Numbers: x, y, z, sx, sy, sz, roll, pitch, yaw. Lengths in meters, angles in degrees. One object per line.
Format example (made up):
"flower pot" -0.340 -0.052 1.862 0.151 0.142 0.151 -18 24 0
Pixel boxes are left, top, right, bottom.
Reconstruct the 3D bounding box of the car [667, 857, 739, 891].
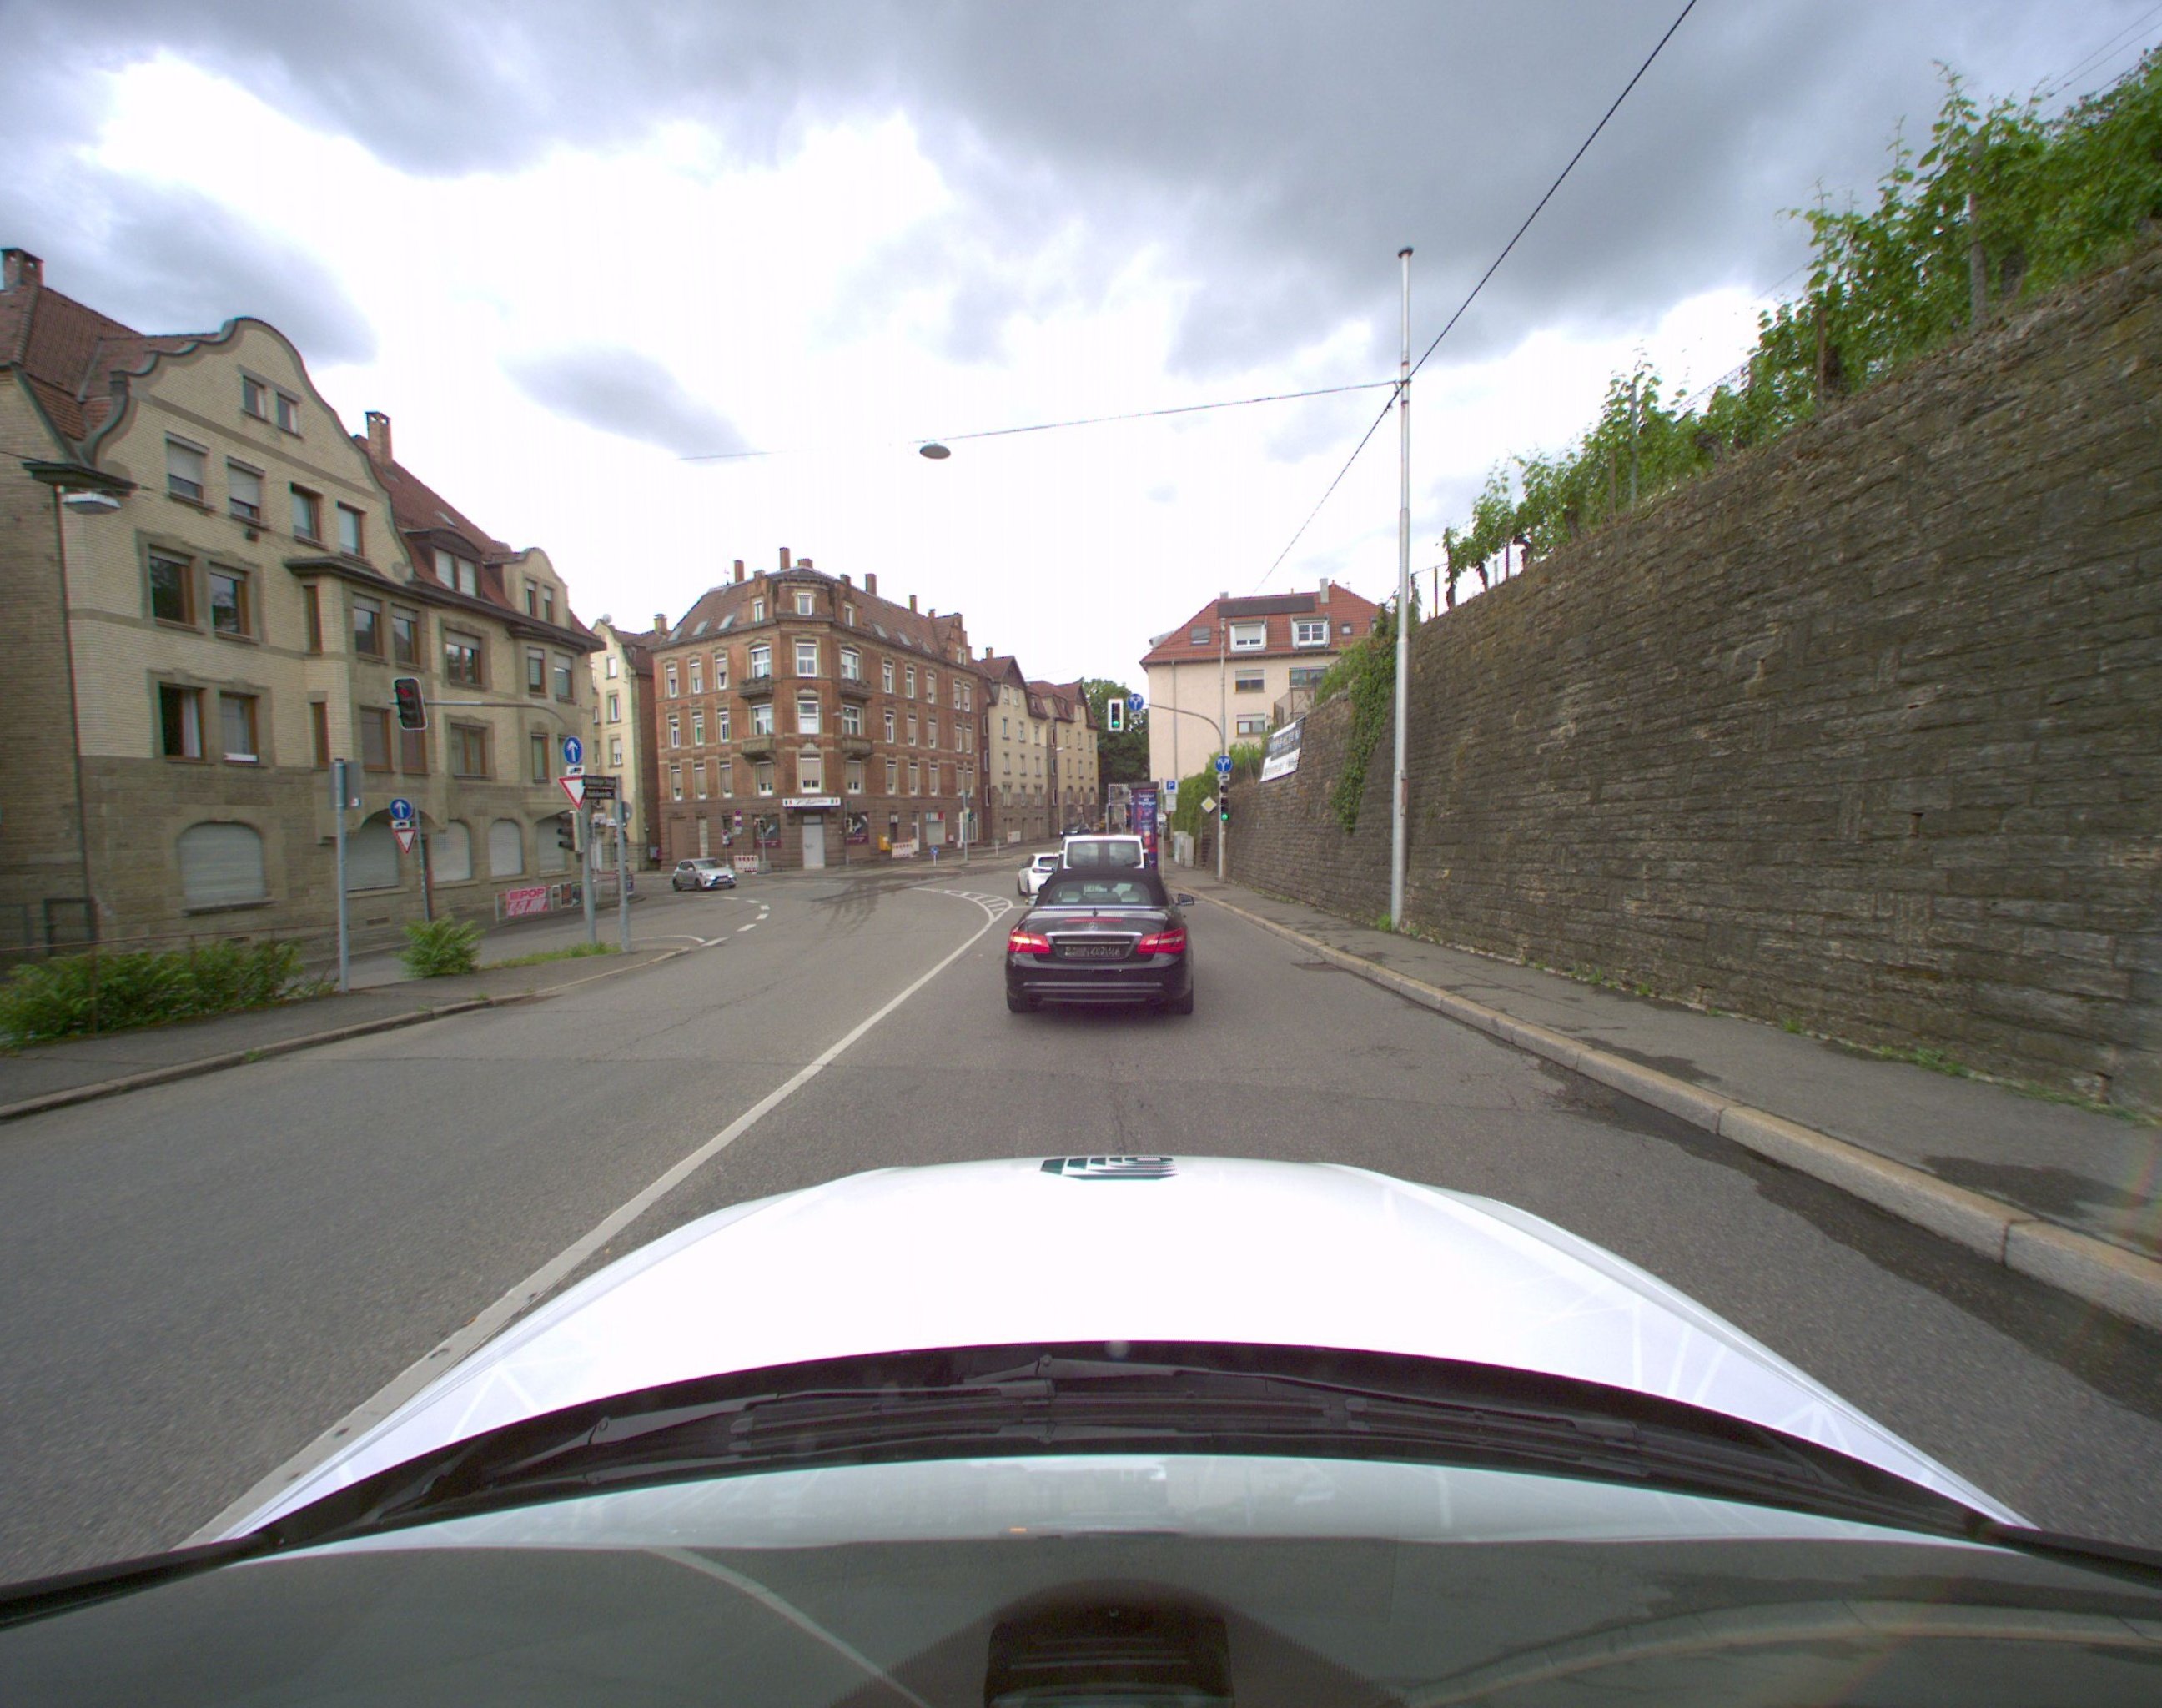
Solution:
"car" -17.690 0.942 38.045 3.596 1.467 1.686 -1 0 40

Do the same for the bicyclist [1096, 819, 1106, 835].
"bicyclist" 2.327 -3.145 95.088 0.938 1.702 0.787 -5 2 7

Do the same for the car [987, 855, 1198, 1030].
"car" 0.170 0.756 9.093 1.755 1.409 4.401 -1 0 2

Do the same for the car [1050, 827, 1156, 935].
"car" 0.480 0.476 17.193 1.884 1.929 4.647 -1 0 2

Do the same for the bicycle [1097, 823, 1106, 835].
"bicycle" 2.435 -2.911 95.187 0.628 1.306 2.605 -5 2 8

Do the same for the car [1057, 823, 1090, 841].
"car" -0.732 -2.172 80.977 1.978 1.514 4.306 -2 3 17

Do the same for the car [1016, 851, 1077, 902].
"car" -1.170 0.654 26.043 1.679 1.466 3.910 -1 0 -6

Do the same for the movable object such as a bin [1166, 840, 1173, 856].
"movable object such as a bin" 5.147 -0.338 47.351 0.343 0.911 0.494 -1 0 -4
